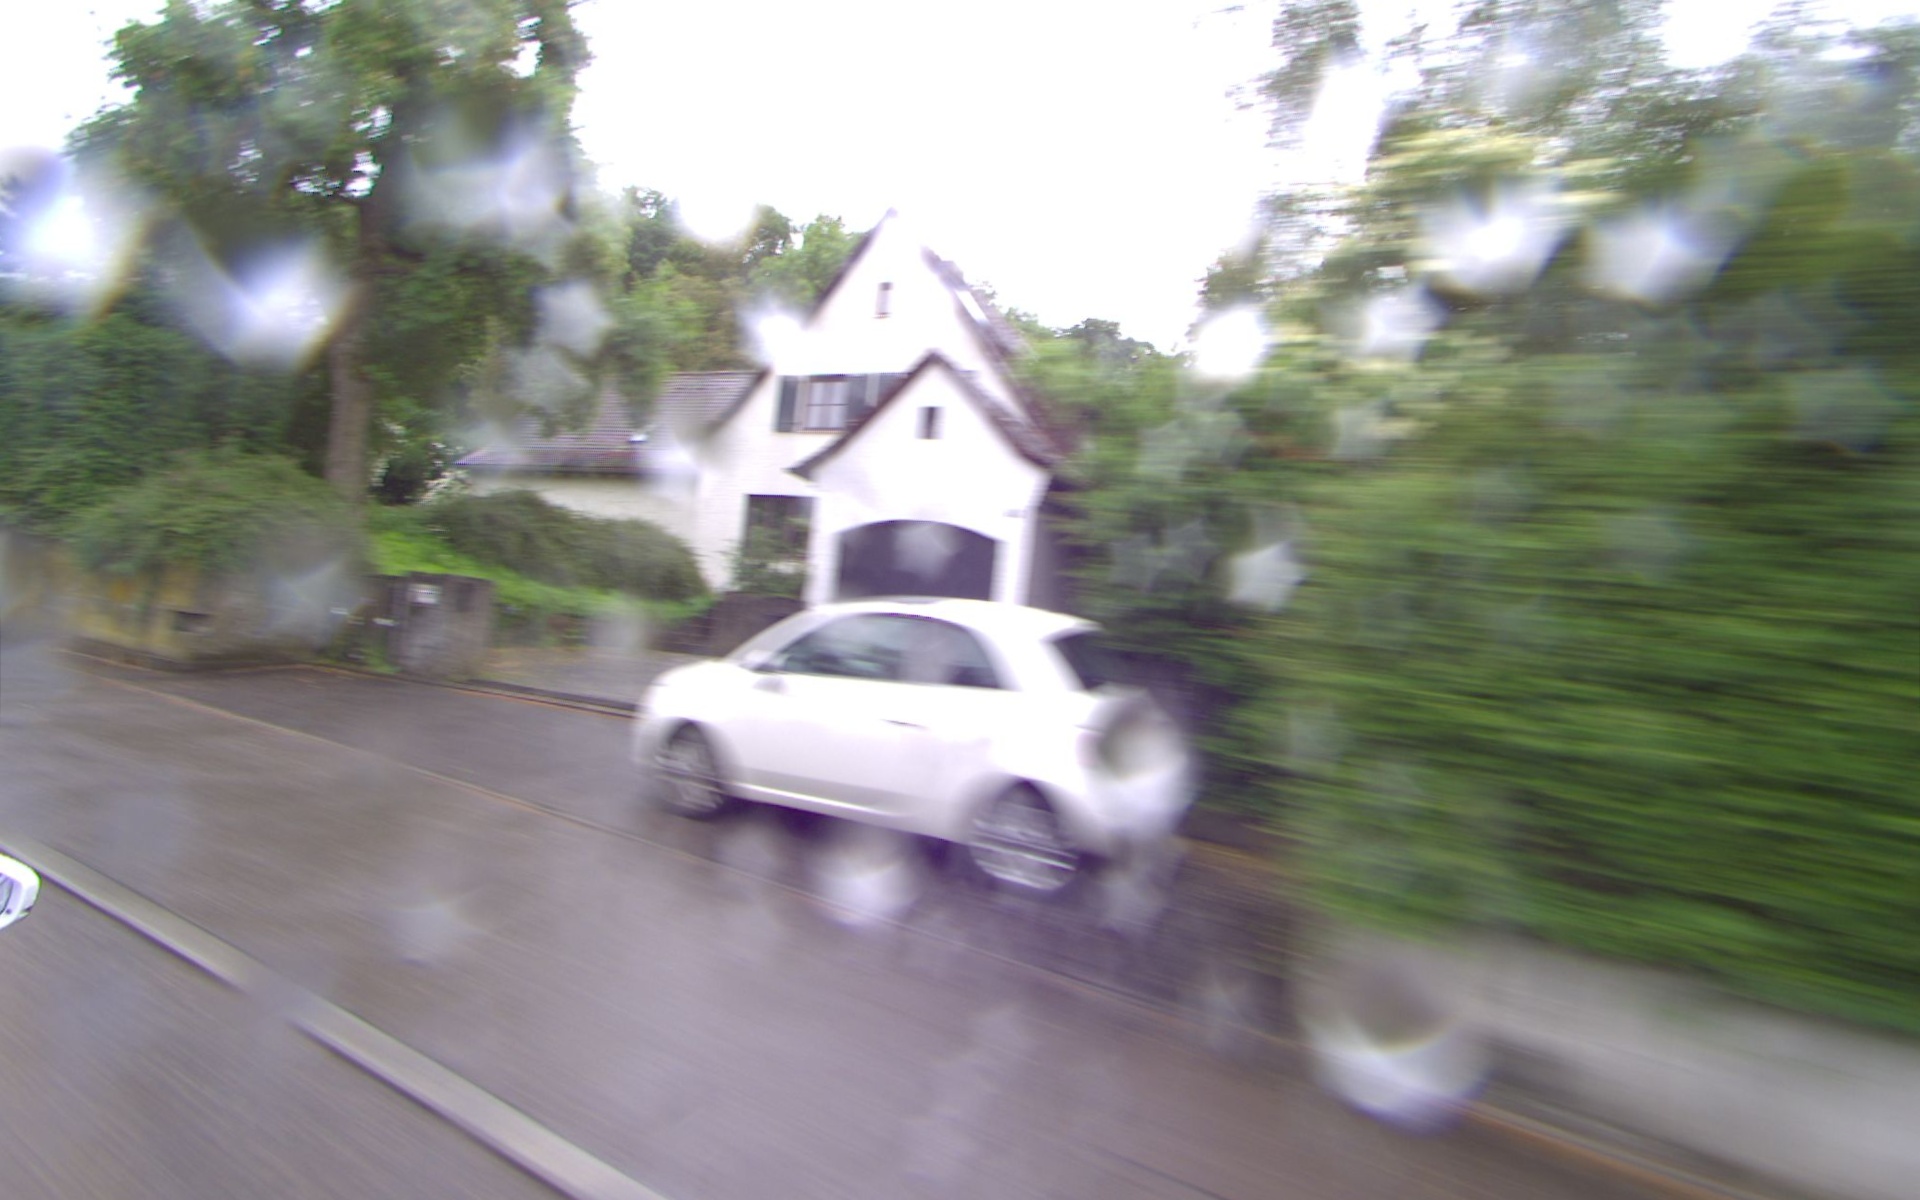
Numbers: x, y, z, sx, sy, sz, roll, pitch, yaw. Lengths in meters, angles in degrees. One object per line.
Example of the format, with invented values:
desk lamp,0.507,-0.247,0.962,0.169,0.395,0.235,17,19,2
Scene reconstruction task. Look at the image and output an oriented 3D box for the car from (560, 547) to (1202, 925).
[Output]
car,-0.563,0.662,6.533,3.776,1.556,1.534,7,2,25
